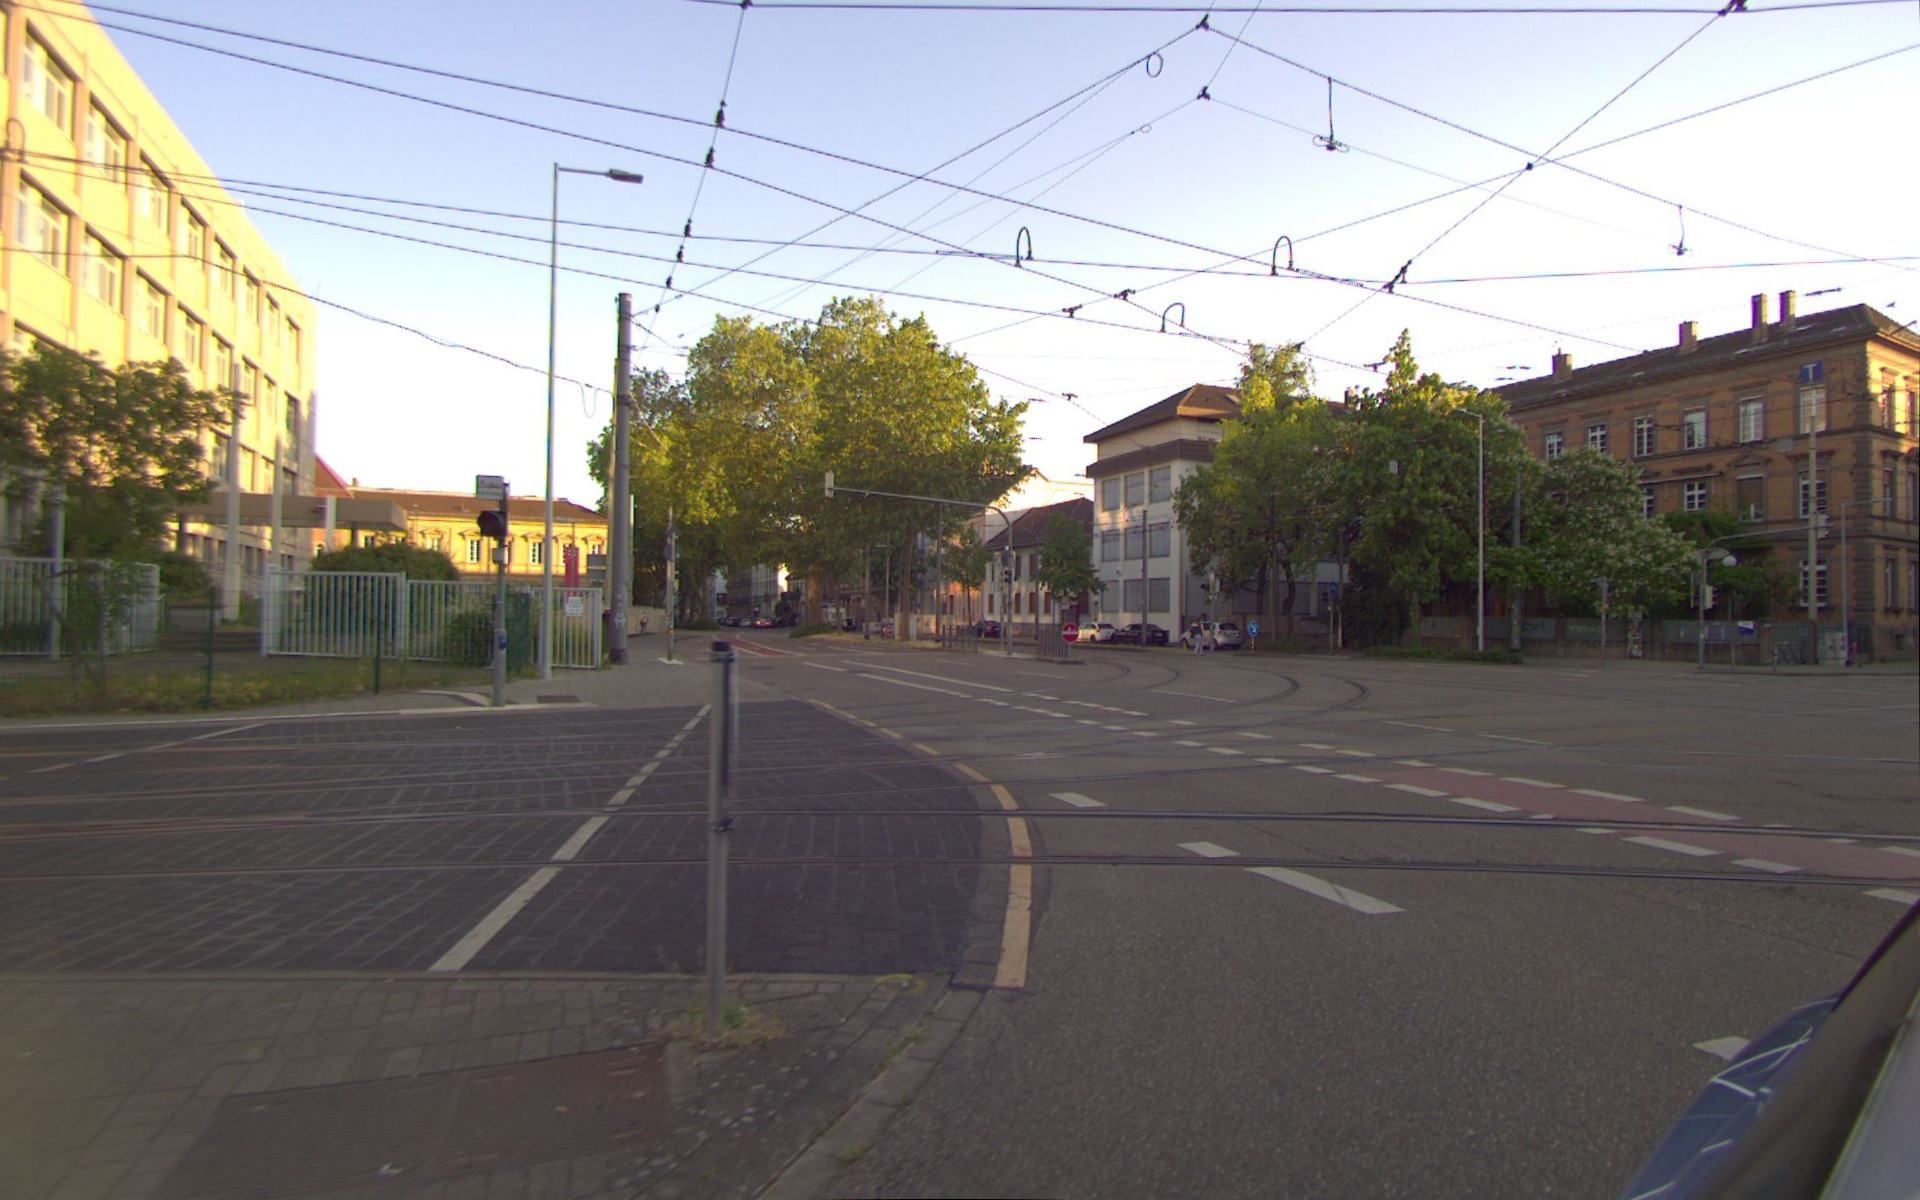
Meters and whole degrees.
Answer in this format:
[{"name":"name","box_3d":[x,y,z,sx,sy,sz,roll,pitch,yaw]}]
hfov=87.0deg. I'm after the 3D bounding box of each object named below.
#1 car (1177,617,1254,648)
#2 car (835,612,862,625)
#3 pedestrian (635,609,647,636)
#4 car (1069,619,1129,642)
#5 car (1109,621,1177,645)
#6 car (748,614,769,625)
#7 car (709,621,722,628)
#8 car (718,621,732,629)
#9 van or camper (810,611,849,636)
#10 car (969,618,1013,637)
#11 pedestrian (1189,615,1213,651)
[{"name":"car","box_3d":[14.148,1.777,56.302,1.958,1.653,4.238,2,-2,-24]},{"name":"car","box_3d":[-13.141,2.230,119.479,1.958,1.442,4.238,2,-2,-24]},{"name":"pedestrian","box_3d":[-20.005,1.416,63.538,0.668,1.653,0.567,1,-2,-14]},{"name":"car","box_3d":[9.234,2.022,67.561,1.958,1.442,4.238,2,-2,-24]},{"name":"car","box_3d":[11.191,2.005,62.253,1.958,1.442,4.366,2,-2,-24]},{"name":"car","box_3d":[-27.788,2.687,139.408,1.911,1.418,4.657,1,-1,-24]},{"name":"car","box_3d":[-49.728,5.037,205.913,1.958,1.442,4.239,1,-2,-23]},{"name":"car","box_3d":[-45.910,4.865,197.556,1.958,1.442,4.239,1,-2,-23]},{"name":"van or camper","box_3d":[-16.375,2.978,126.860,2.448,3.009,7.188,2,-2,-28]},{"name":"car","box_3d":[2.514,2.258,83.396,1.958,1.442,4.238,2,-2,-24]},{"name":"pedestrian","box_3d":[10.315,1.414,43.264,0.800,1.546,0.581,1,-2,-18]}]
